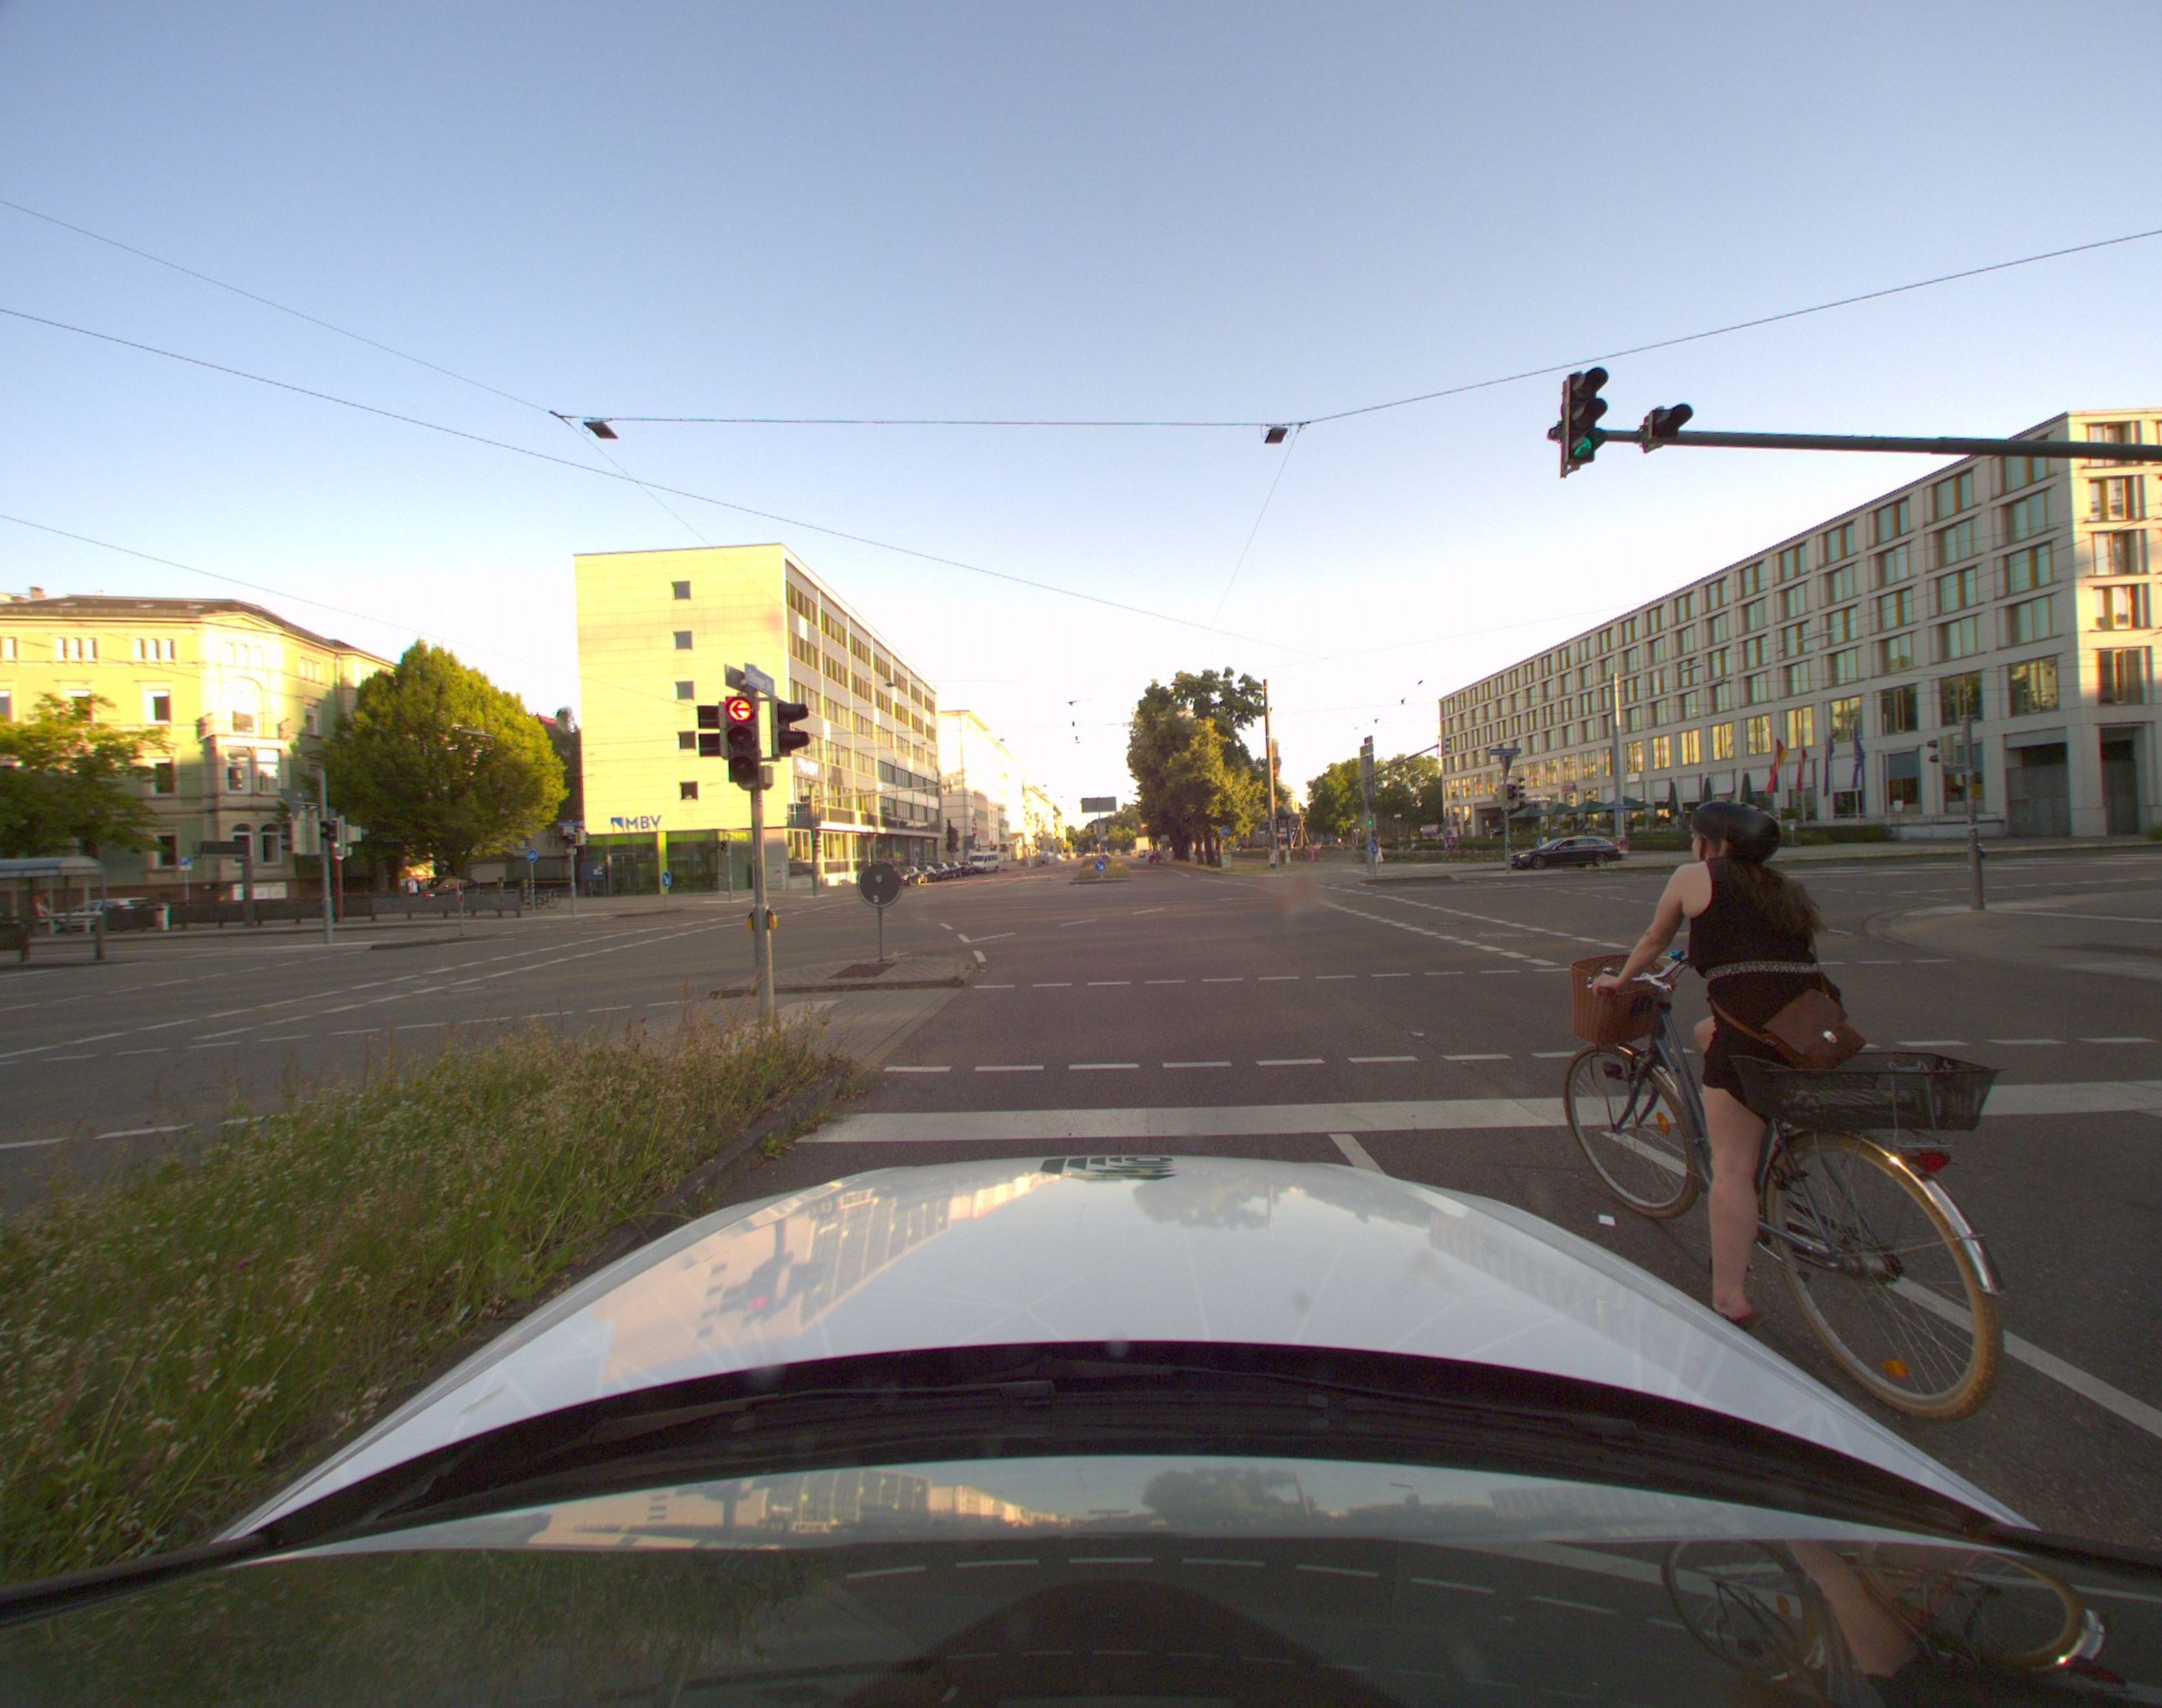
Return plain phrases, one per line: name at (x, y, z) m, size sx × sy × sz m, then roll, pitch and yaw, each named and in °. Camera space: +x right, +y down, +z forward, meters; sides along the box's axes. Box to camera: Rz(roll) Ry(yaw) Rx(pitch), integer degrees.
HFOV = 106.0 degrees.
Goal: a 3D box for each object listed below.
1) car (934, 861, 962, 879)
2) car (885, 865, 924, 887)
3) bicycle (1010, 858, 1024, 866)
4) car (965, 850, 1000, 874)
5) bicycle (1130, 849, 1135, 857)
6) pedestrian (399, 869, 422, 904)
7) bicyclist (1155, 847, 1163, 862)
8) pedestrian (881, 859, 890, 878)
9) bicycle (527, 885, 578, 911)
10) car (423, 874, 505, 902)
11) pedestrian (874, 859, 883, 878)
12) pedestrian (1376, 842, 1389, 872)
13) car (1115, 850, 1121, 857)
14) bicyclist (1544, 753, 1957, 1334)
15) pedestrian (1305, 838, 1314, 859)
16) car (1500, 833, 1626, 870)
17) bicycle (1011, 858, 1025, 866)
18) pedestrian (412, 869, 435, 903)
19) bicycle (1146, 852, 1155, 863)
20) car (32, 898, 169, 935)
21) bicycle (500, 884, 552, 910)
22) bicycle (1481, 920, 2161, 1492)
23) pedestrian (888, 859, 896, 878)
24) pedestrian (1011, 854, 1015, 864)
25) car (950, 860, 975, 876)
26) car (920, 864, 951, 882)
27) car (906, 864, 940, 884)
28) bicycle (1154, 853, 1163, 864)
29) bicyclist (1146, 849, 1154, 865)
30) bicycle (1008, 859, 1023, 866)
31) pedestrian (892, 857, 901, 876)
car at (-12.854, 1.573, 79.032) m, size 1.913 × 1.568 × 4.002 m, roll -3°, pitch 0°, yaw 2°
car at (-13.510, 1.659, 62.420) m, size 1.913 × 1.464 × 4.105 m, roll -3°, pitch 0°, yaw 2°
bicycle at (-10.010, 1.283, 127.383) m, size 2.198 × 1.112 × 0.689 m, roll -3°, pitch 0°, yaw 0°
car at (-11.060, 0.865, 91.689) m, size 1.988 × 2.478 × 5.888 m, roll -3°, pitch 0°, yaw 12°
bicycle at (13.075, -0.341, 207.752) m, size 0.997 × 2.013 × 4.007 m, roll -3°, pitch 0°, yaw 6°
pedestrian at (-35.378, 1.726, 42.974) m, size 0.641 × 1.790 × 0.720 m, roll -3°, pitch 0°, yaw -12°
bicyclist at (8.578, 0.051, 90.101) m, size 0.744 × 1.691 × 0.799 m, roll -3°, pitch 0°, yaw 1°
pedestrian at (-17.792, 1.305, 74.107) m, size 0.549 × 1.679 × 0.500 m, roll -3°, pitch 0°, yaw 1°
bicycle at (-25.848, 2.118, 39.863) m, size 0.832 × 1.112 × 2.216 m, roll -3°, pitch 0°, yaw 6°
car at (-34.884, 1.906, 46.195) m, size 1.830 × 1.372 × 3.594 m, roll -3°, pitch 0°, yaw 0°
pedestrian at (-18.227, 1.302, 73.289) m, size 0.549 × 1.679 × 0.500 m, roll -3°, pitch 0°, yaw 1°
pedestrian at (15.912, 0.174, 43.005) m, size 0.489 × 1.540 × 0.408 m, roll -3°, pitch 0°, yaw 1°
car at (9.115, -0.096, 201.731) m, size 1.403 × 1.641 × 4.000 m, roll -3°, pitch 0°, yaw 1°
bicyclist at (2.176, 0.535, 2.804) m, size 0.597 × 1.636 × 0.999 m, roll -1°, pitch 0°, yaw 2°
pedestrian at (17.646, -0.421, 62.853) m, size 0.458 × 1.656 × 0.567 m, roll -3°, pitch 0°, yaw 1°
car at (23.113, -0.111, 39.219) m, size 4.803 × 1.515 × 2.002 m, roll -3°, pitch 0°, yaw 4°
bicycle at (-10.006, 1.240, 129.340) m, size 2.198 × 1.236 × 0.839 m, roll -3°, pitch 0°, yaw 0°
pedestrian at (-35.343, 1.704, 43.766) m, size 0.641 × 1.790 × 0.720 m, roll -3°, pitch 0°, yaw -12°
bicycle at (7.700, 0.403, 90.136) m, size 0.744 × 1.144 × 2.506 m, roll -3°, pitch 0°, yaw 2°
car at (-45.254, 2.844, 37.673) m, size 3.588 × 1.372 × 1.833 m, roll -3°, pitch 0°, yaw -15°
bicycle at (-27.171, 2.112, 39.906) m, size 0.832 × 1.112 × 2.216 m, roll -3°, pitch 0°, yaw 6°
bicycle at (2.180, 0.886, 2.860) m, size 0.609 × 1.132 × 2.005 m, roll -1°, pitch 0°, yaw 2°
pedestrian at (-17.172, 1.285, 74.039) m, size 0.498 × 1.679 × 0.500 m, roll -3°, pitch 0°, yaw 1°
pedestrian at (-13.885, 1.060, 165.320) m, size 0.677 × 2.013 × 0.545 m, roll -3°, pitch 0°, yaw 1°
car at (-12.387, 1.445, 85.254) m, size 1.913 × 1.568 × 4.002 m, roll -3°, pitch 0°, yaw 2°
car at (-13.106, 1.682, 73.730) m, size 1.913 × 1.464 × 4.002 m, roll -3°, pitch 0°, yaw 2°
car at (-13.314, 1.645, 68.917) m, size 1.913 × 1.464 × 4.002 m, roll -3°, pitch 0°, yaw 2°
bicycle at (8.604, 0.474, 90.185) m, size 0.744 × 1.144 × 2.506 m, roll -3°, pitch 0°, yaw 2°
bicyclist at (7.651, 0.307, 89.869) m, size 0.744 × 1.663 × 0.873 m, roll -3°, pitch 0°, yaw 1°
bicycle at (-10.089, 1.319, 125.910) m, size 2.198 × 1.112 × 0.619 m, roll -3°, pitch 0°, yaw 0°
pedestrian at (-16.607, 1.112, 73.344) m, size 0.549 × 1.679 × 0.500 m, roll -3°, pitch 0°, yaw 1°
